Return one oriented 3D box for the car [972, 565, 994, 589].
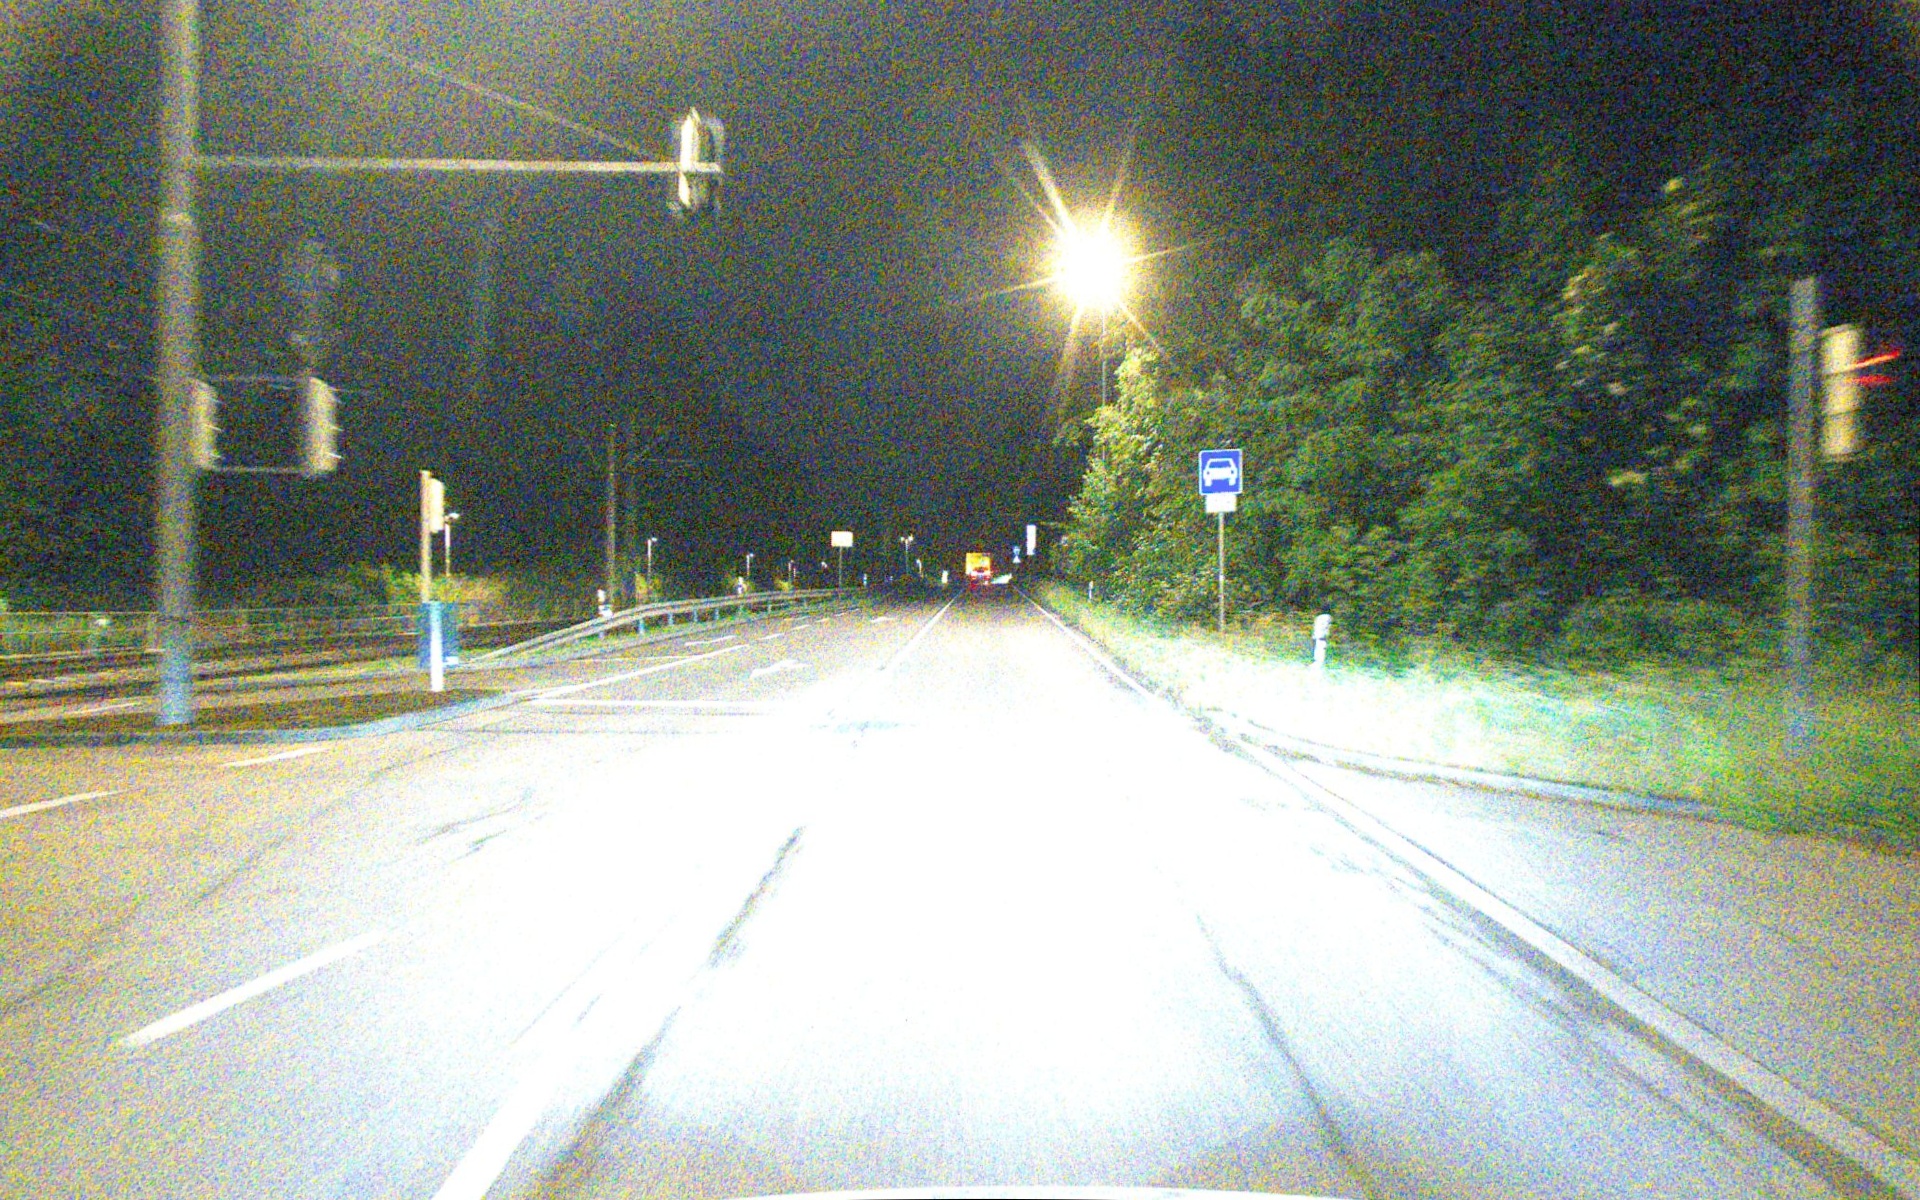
[{"bbox_3d":[2.116,-2.135,155.420,1.953,2.049,3.999,1,-2,0],"label":"car"}]
